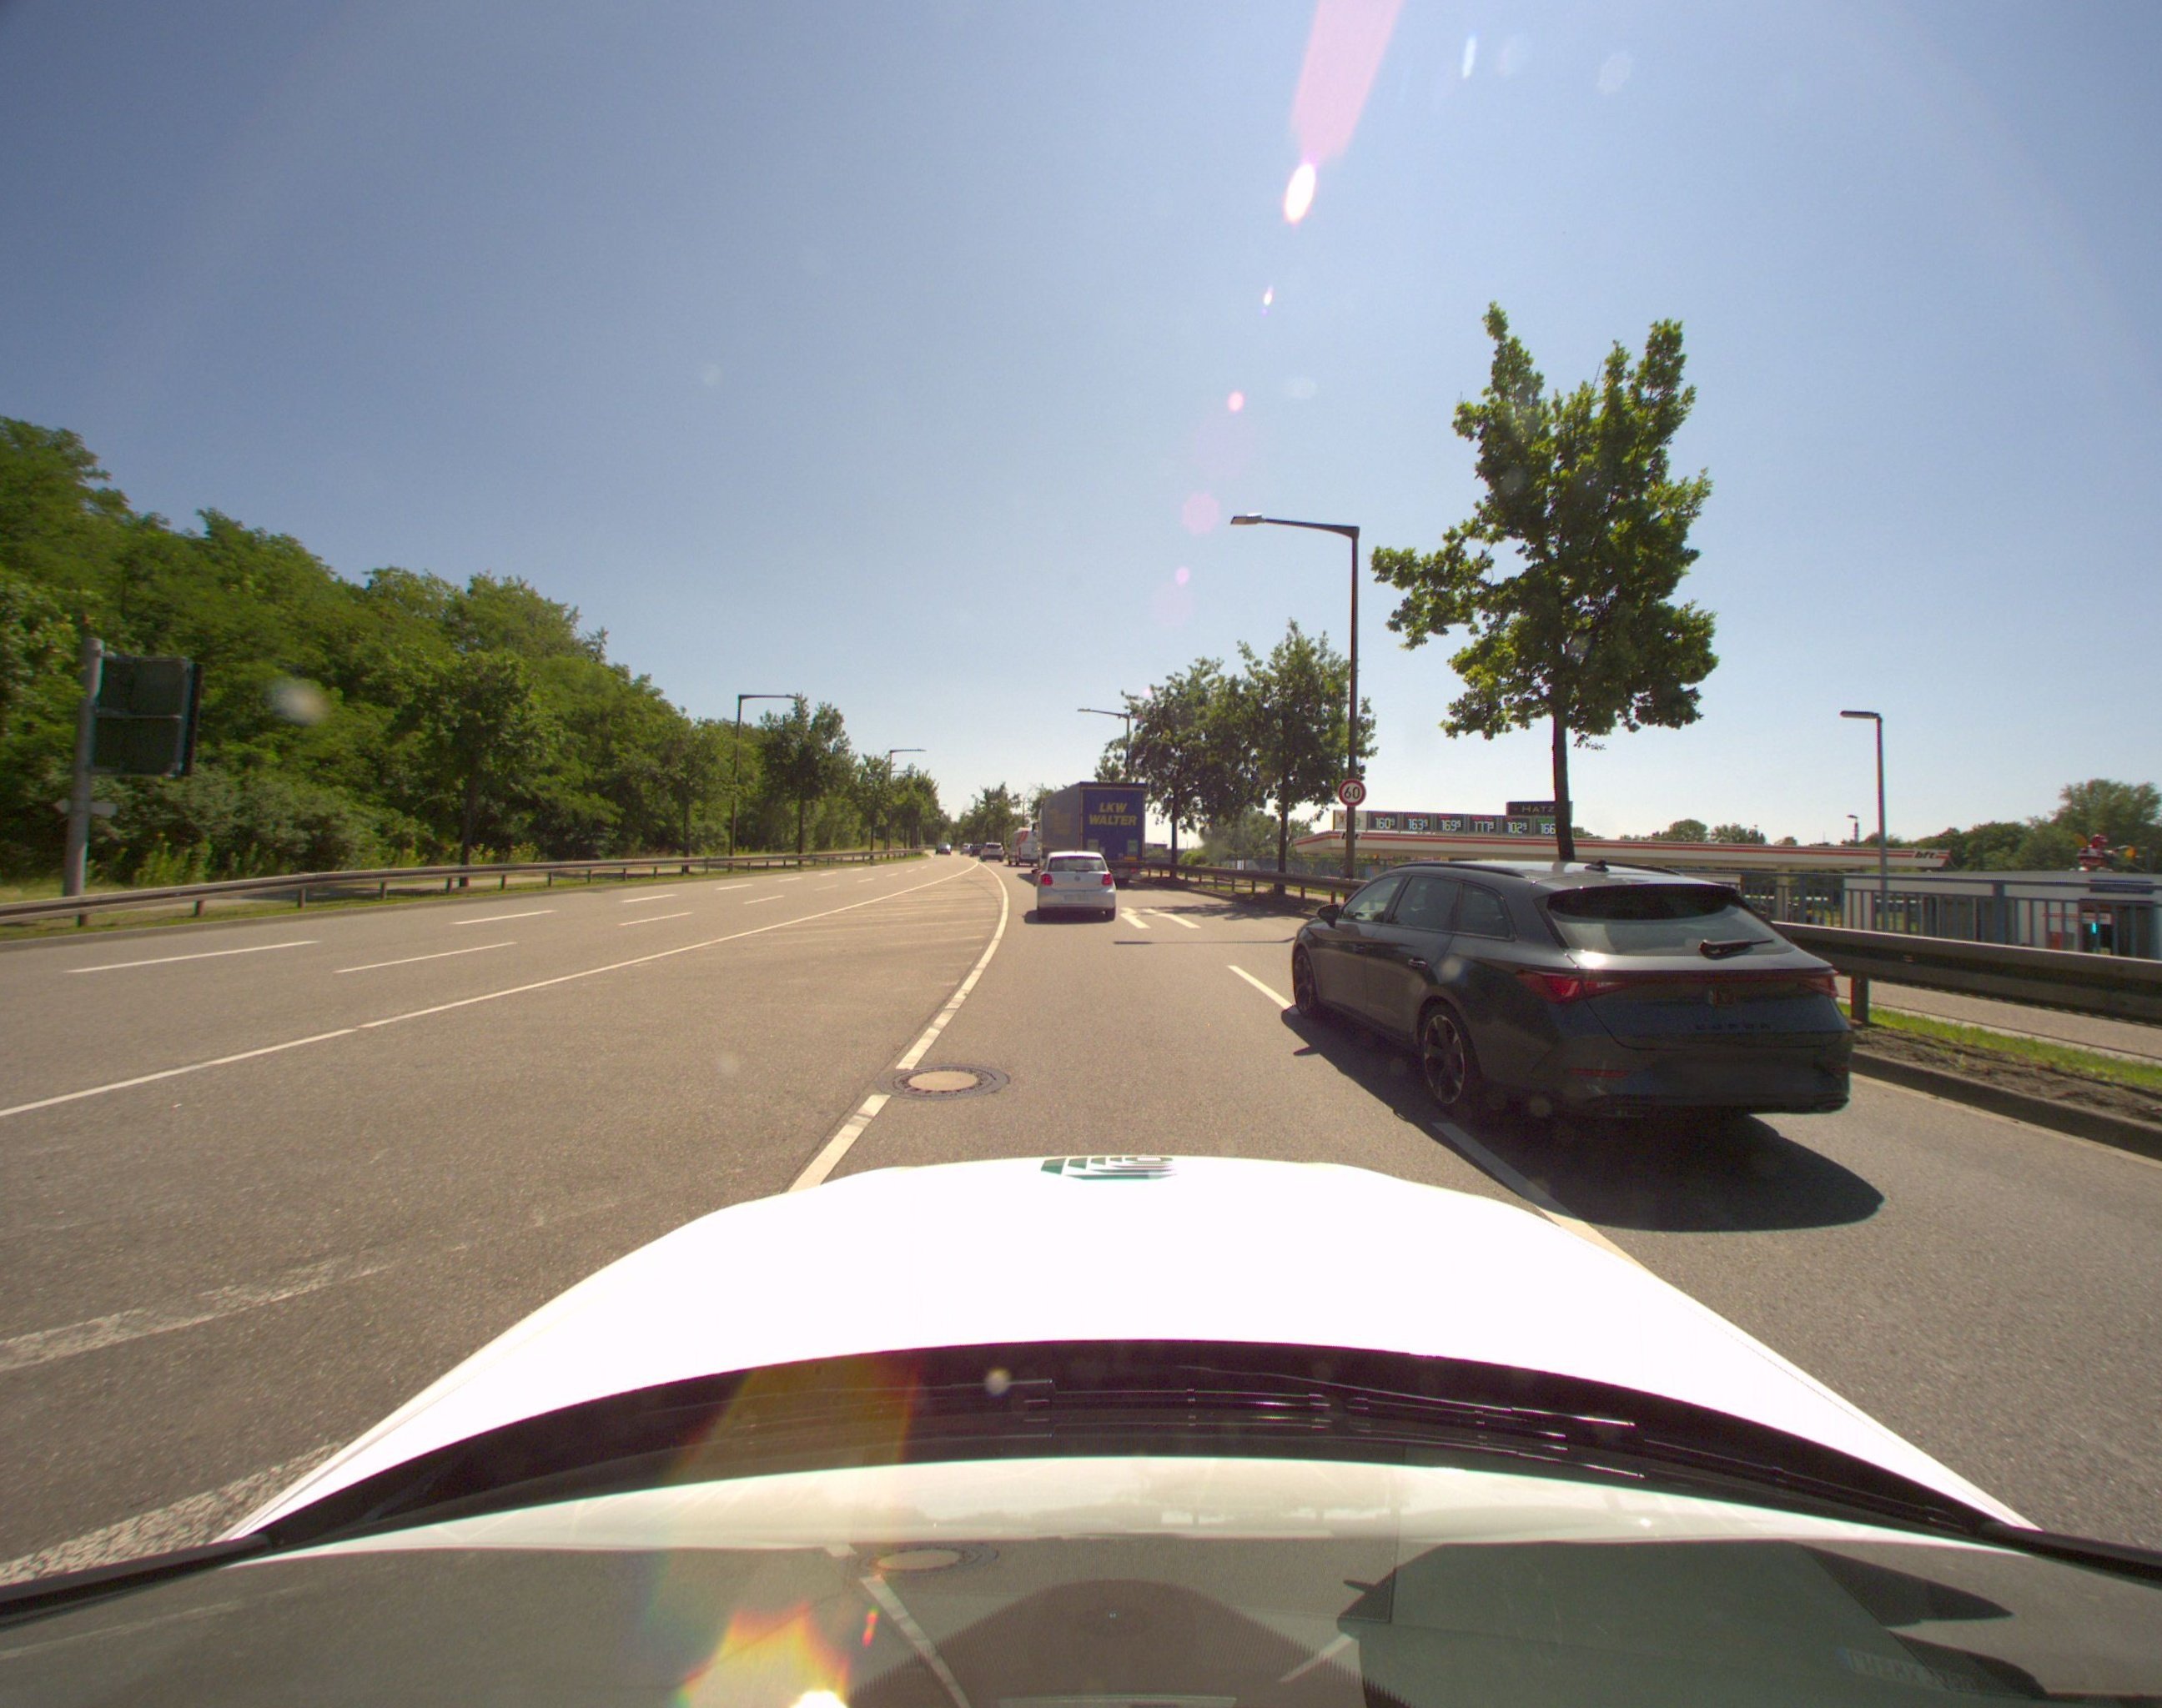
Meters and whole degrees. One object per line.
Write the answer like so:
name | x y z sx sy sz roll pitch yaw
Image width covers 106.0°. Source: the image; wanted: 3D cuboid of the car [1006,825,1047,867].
car | -4.124 -0.596 60.964 2.177 2.900 6.332 1 0 -12

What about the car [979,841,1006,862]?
car | -7.894 -0.171 72.520 1.905 1.718 4.205 1 -2 -13

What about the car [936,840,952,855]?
car | -16.255 -0.797 96.678 1.677 1.671 3.746 0 2 -7

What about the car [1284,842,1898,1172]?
car | 2.825 0.740 5.764 1.600 1.456 4.231 1 -1 -2

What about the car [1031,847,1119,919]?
car | -0.226 0.633 18.336 1.644 1.439 3.529 1 -2 -6

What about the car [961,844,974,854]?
car | -15.060 -0.646 107.635 1.607 1.360 3.651 1 -1 -9

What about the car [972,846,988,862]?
car | -11.653 -0.030 93.864 1.721 1.726 3.987 1 -2 -9

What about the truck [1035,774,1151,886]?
truck | 0.001 -0.822 39.170 2.832 4.198 16.422 1 -1 -9
